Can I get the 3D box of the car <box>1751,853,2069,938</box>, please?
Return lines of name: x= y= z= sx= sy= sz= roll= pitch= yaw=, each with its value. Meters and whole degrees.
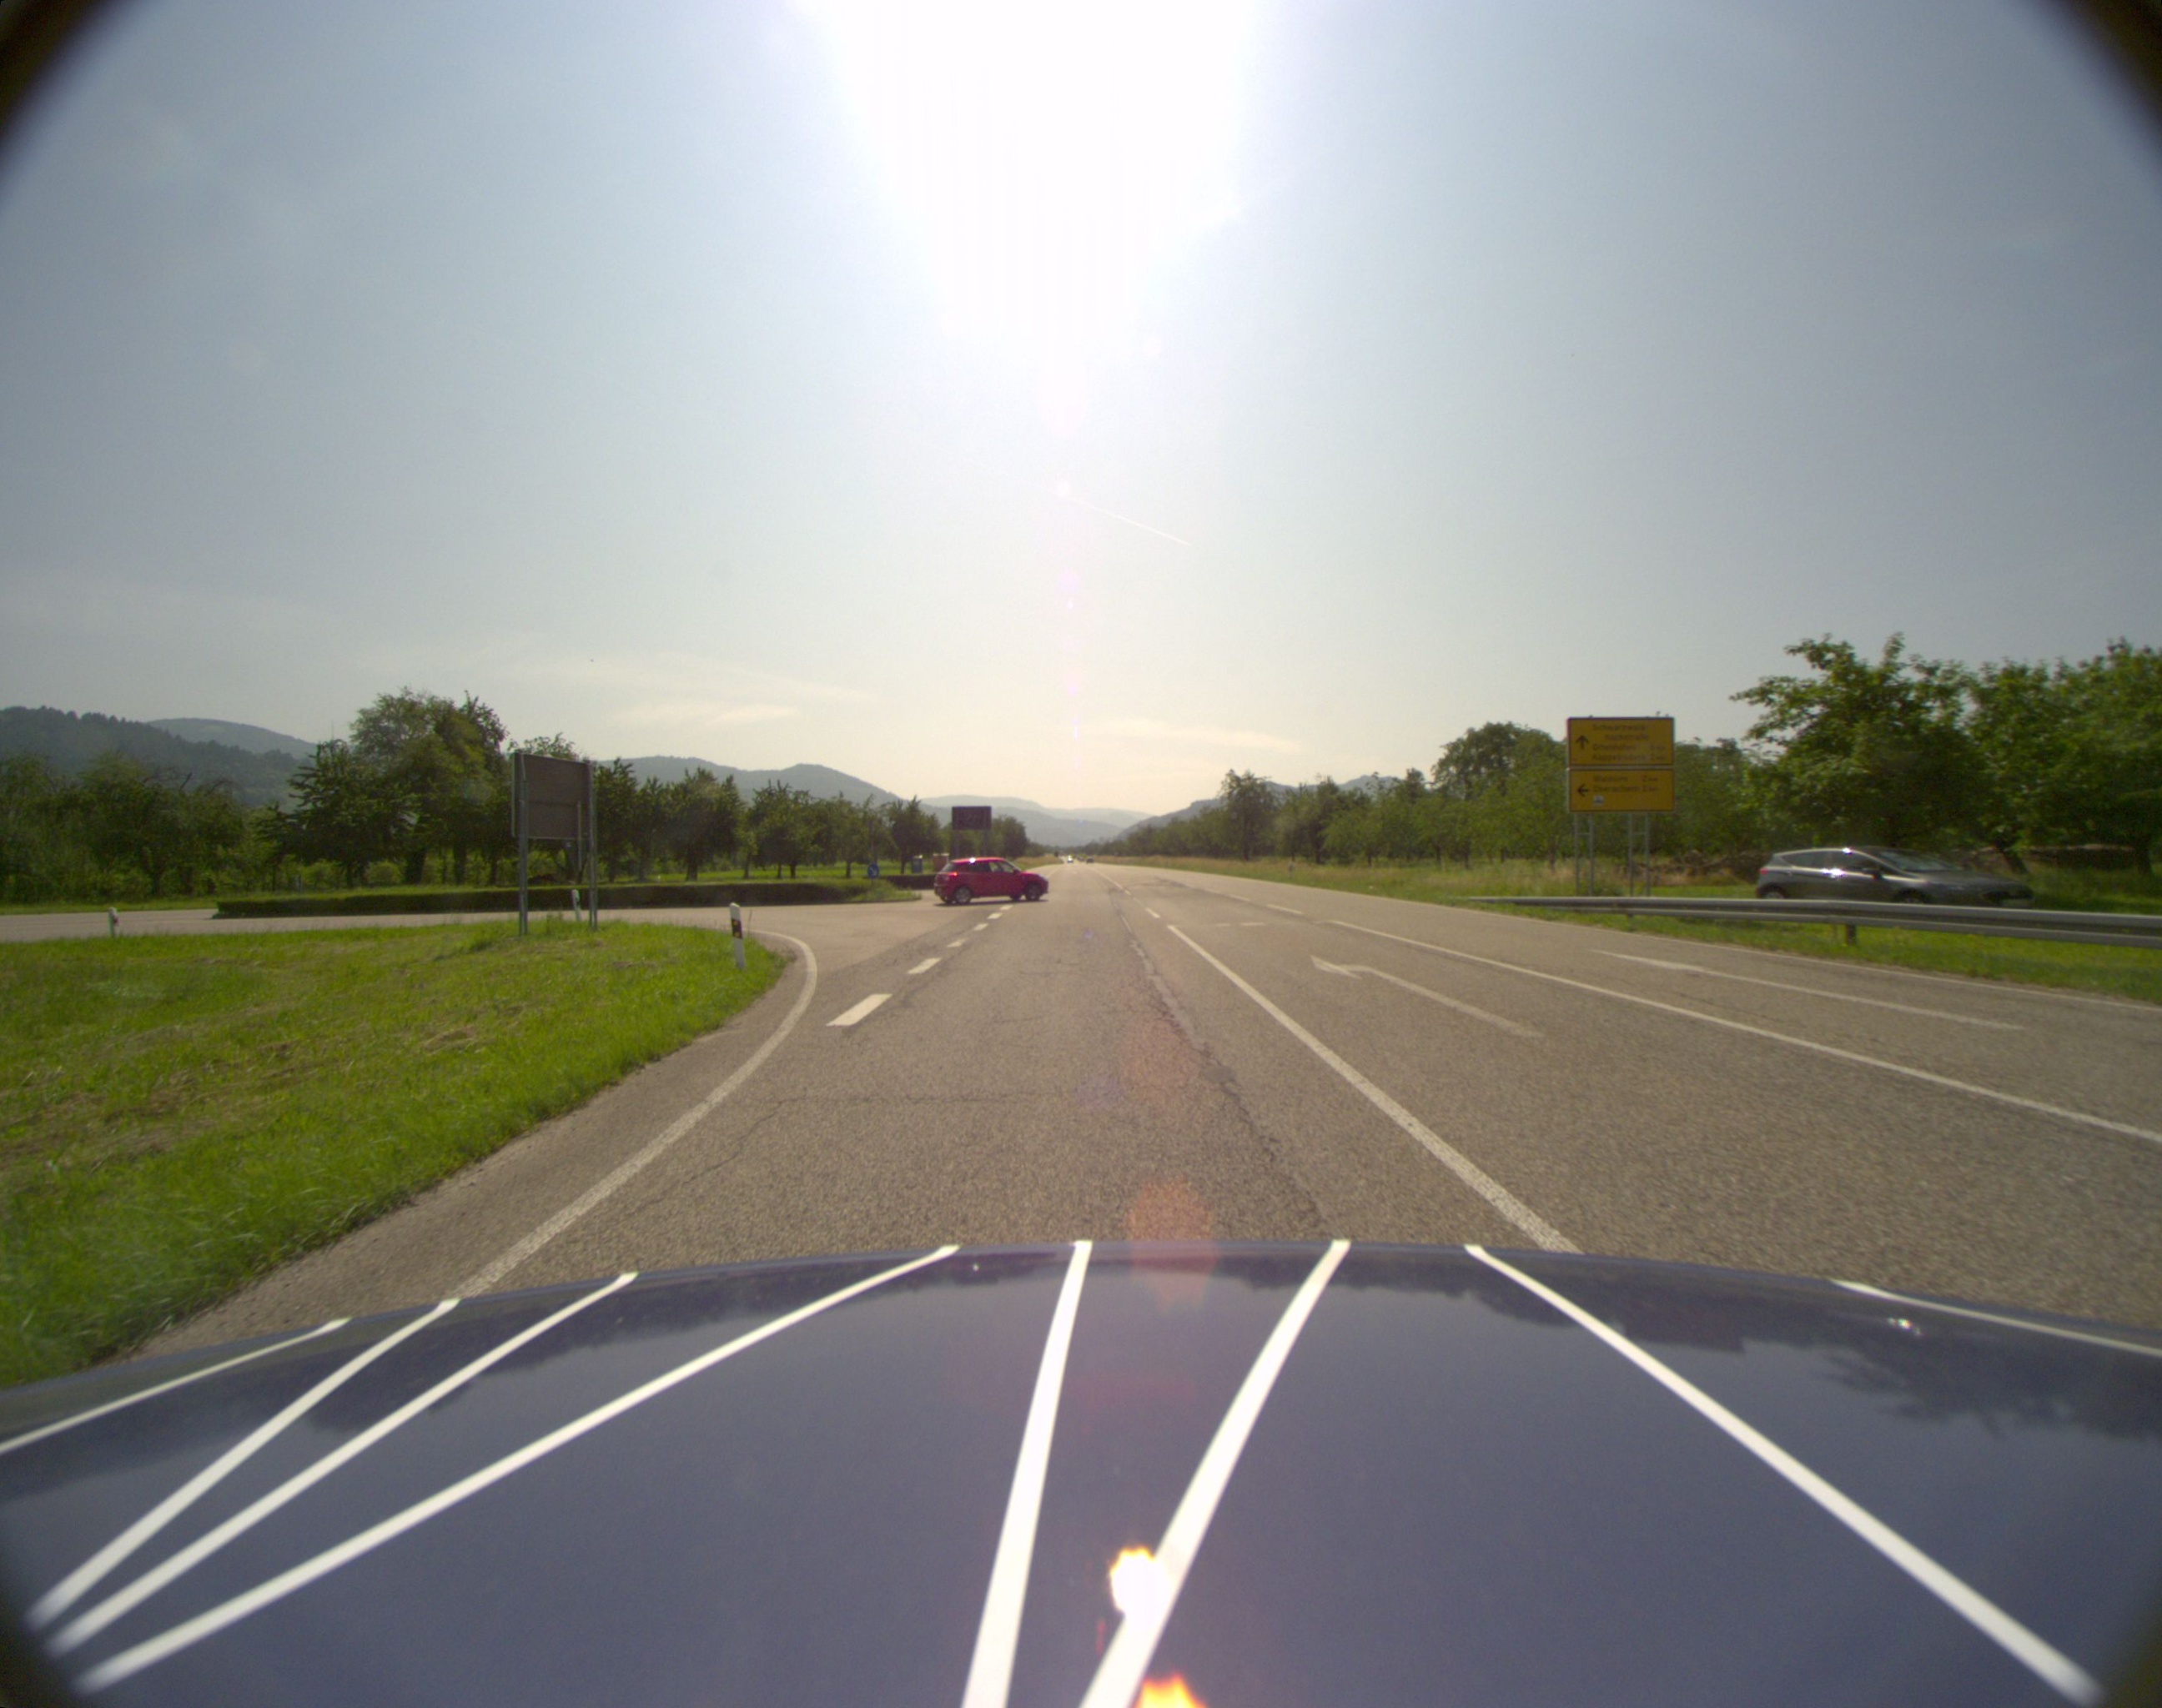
car: x=15.961 y=0.704 z=15.005 sx=1.709 sy=1.414 sz=4.041 roll=-1 pitch=0 yaw=-5

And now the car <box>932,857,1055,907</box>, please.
car: x=-2.967 y=0.908 z=25.852 sx=3.757 sy=1.484 sz=1.668 roll=-2 pitch=1 yaw=-28

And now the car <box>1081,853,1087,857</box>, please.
car: x=1.052 y=0.407 z=256.628 sx=1.679 sy=1.485 sz=4.136 roll=-2 pitch=0 yaw=-1
